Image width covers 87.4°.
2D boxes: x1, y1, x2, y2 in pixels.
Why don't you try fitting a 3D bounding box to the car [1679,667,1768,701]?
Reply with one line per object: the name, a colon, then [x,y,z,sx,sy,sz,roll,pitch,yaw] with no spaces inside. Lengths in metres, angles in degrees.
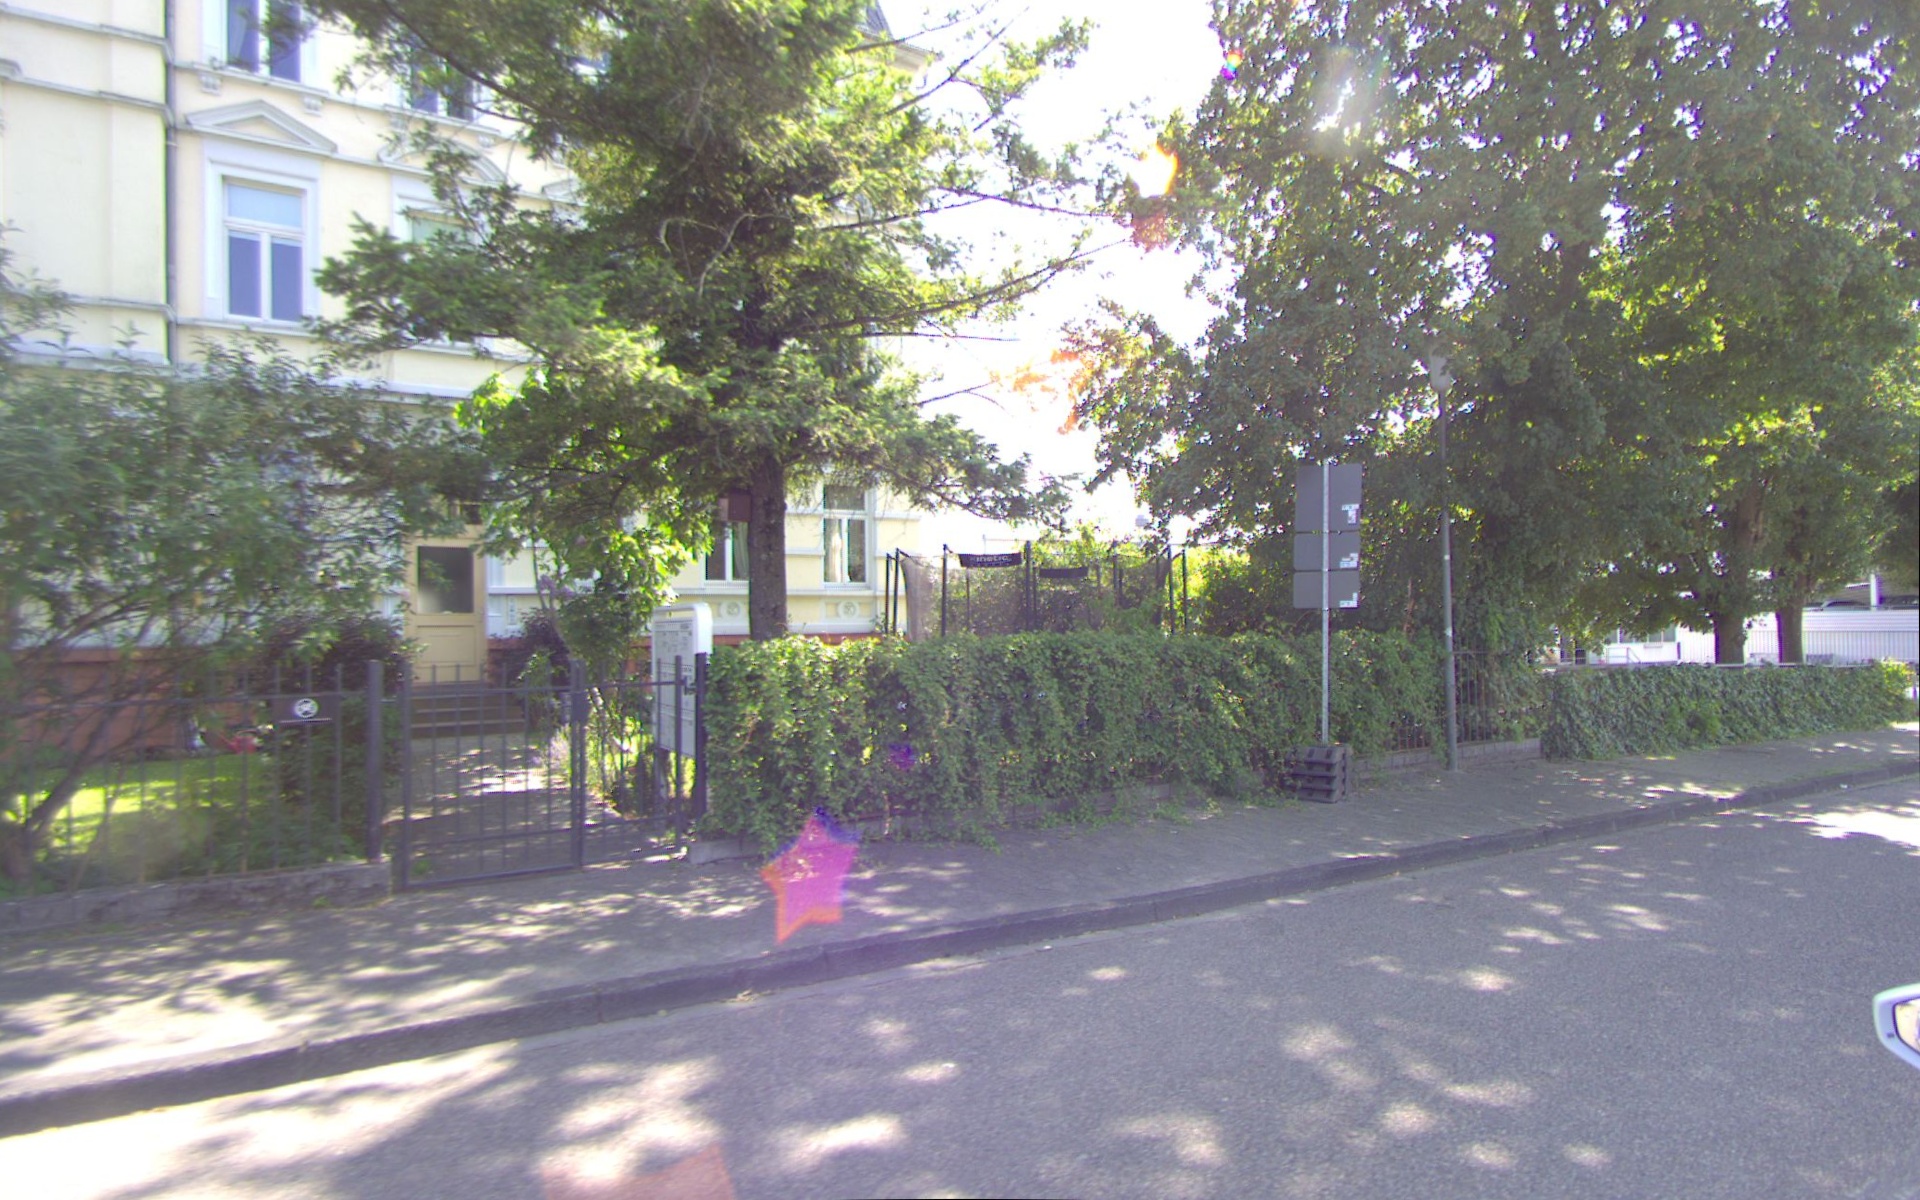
car: [37.518,4.113,49.349,3.949,1.461,1.986,0,-2,-28]
